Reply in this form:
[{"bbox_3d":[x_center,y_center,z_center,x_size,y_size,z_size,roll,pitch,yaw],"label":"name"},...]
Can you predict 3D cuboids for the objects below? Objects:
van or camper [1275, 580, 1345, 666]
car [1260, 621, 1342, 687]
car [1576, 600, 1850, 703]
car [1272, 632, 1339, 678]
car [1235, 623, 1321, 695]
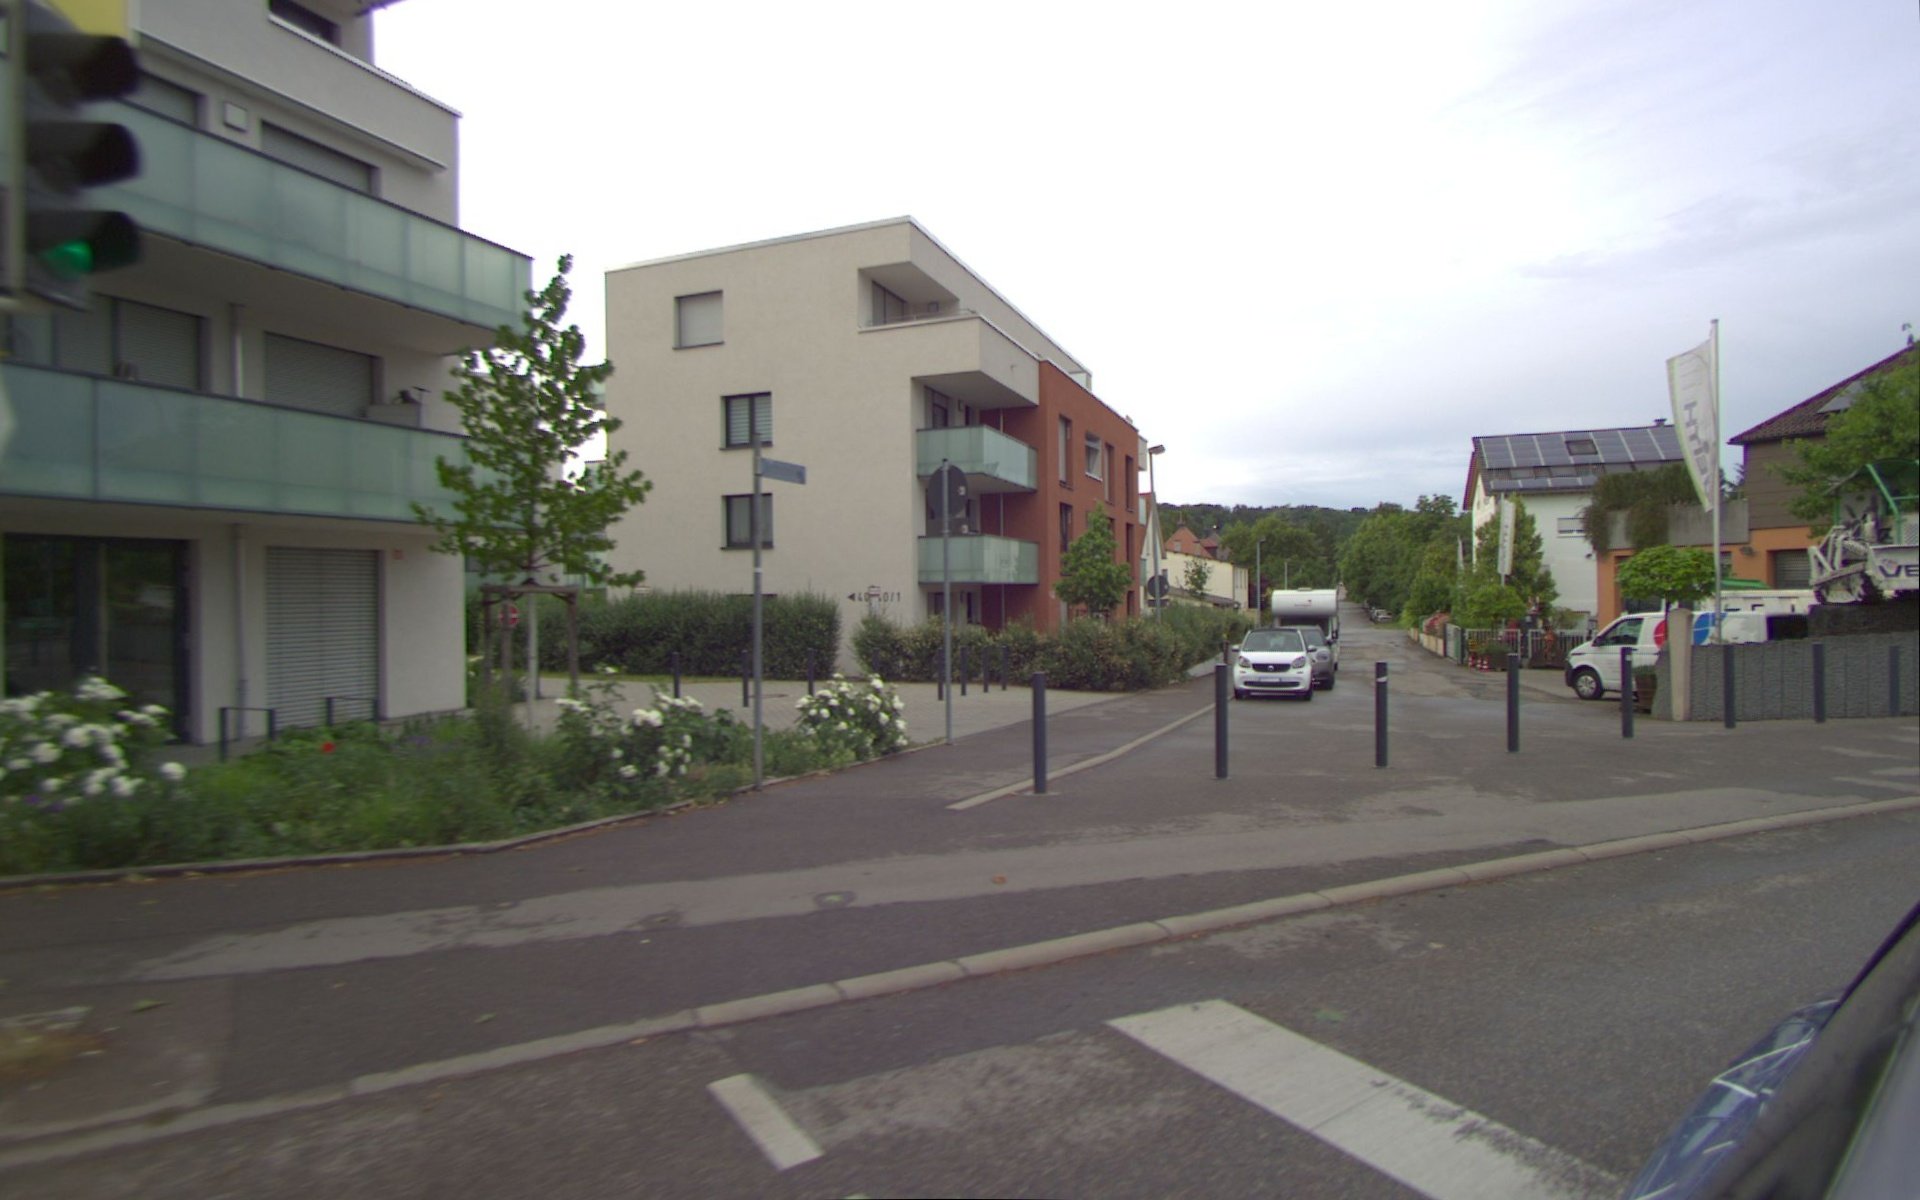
[{"bbox_3d":[13.508,0.868,38.857,2.298,3.033,5.906,-1,-1,21],"label":"van or camper"},{"bbox_3d":[9.188,1.382,27.092,1.831,1.562,4.096,-1,-1,22],"label":"car"},{"bbox_3d":[15.276,0.991,20.842,1.958,1.894,4.144,0,-1,-17],"label":"car"},{"bbox_3d":[10.923,1.671,31.835,1.758,1.270,4.096,-1,-1,22],"label":"car"},{"bbox_3d":[7.201,1.280,22.802,1.707,1.491,2.724,0,-1,21],"label":"car"}]
